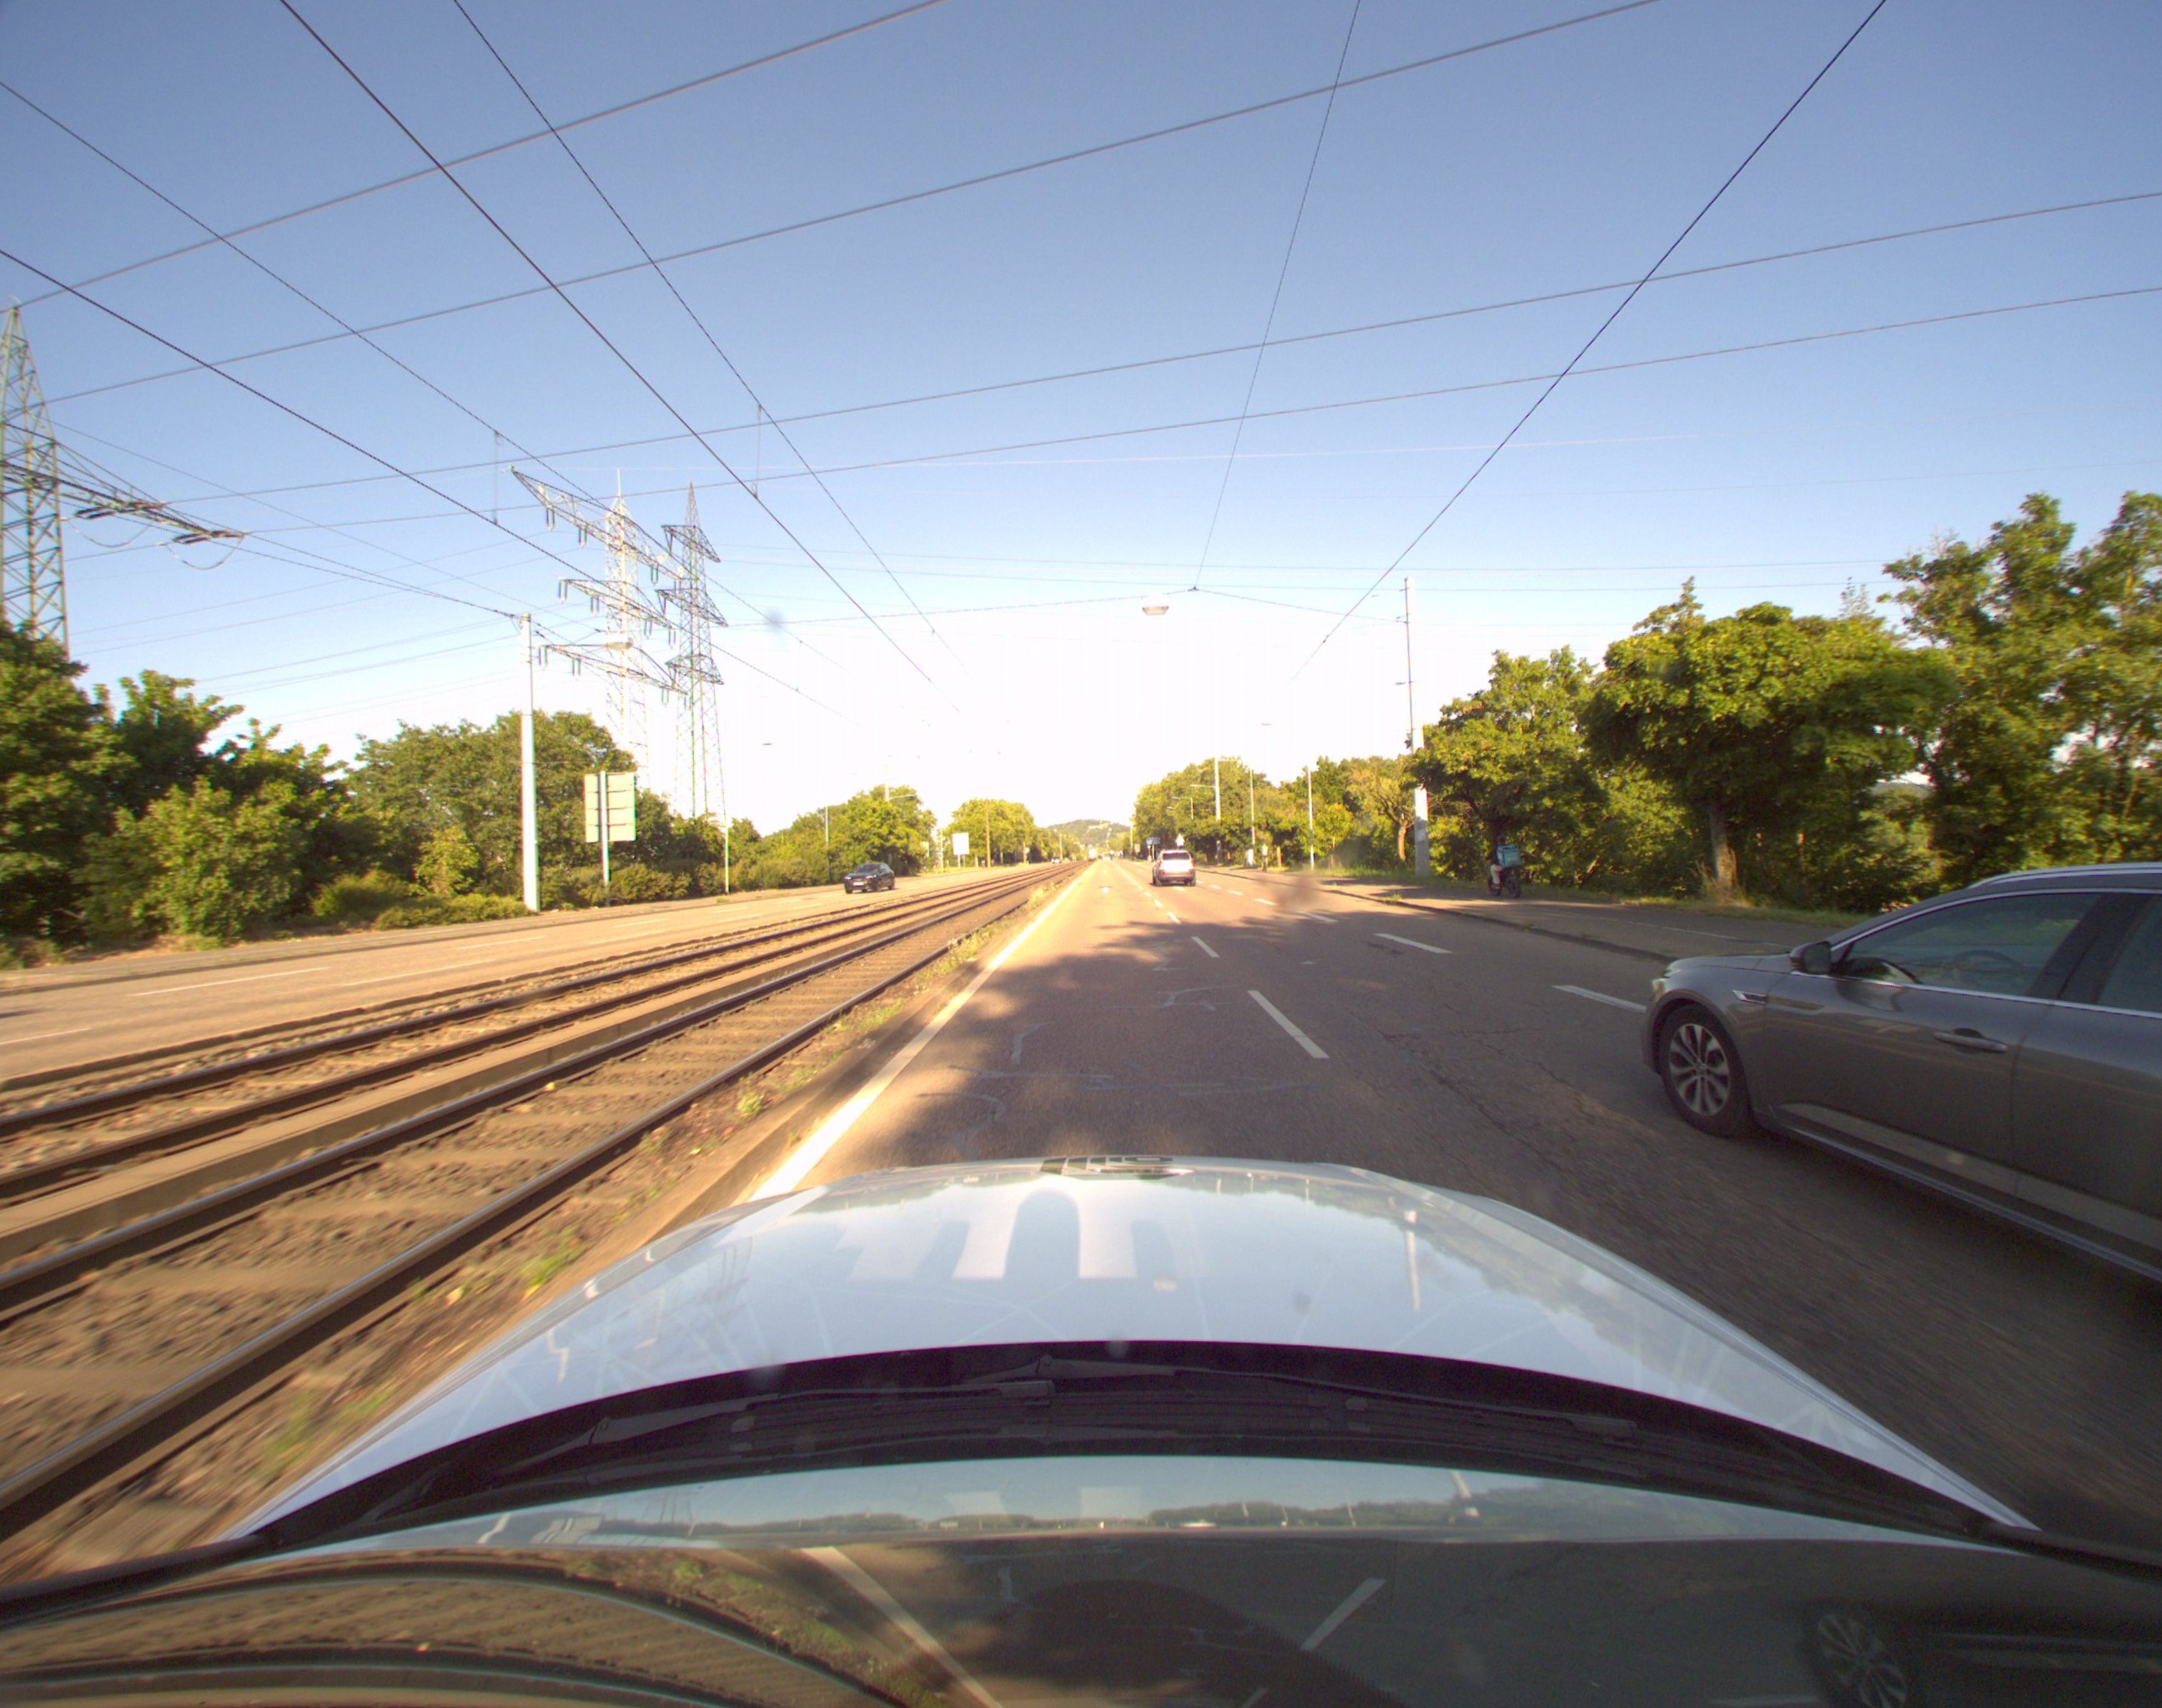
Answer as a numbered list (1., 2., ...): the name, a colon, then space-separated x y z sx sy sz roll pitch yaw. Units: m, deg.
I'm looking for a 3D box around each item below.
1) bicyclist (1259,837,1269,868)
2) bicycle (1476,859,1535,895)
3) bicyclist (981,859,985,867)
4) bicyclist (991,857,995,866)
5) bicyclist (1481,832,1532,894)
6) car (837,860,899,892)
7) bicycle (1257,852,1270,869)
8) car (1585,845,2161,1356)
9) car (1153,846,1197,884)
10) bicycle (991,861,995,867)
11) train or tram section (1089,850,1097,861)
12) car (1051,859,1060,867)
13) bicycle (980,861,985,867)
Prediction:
1. bicyclist: 11.861 -0.081 52.716 0.525 2.017 0.730 0 -1 3
2. bicycle: 10.785 0.564 20.749 0.624 0.834 1.635 -5 -1 2
3. bicyclist: -17.842 1.605 148.156 0.588 1.528 0.906 -2 -1 1
4. bicyclist: -16.231 1.366 150.115 0.588 1.611 0.967 -2 -1 1
5. bicyclist: 10.760 0.227 20.623 0.624 1.471 1.061 -5 -1 2
6. car: -11.953 1.215 46.084 1.985 1.625 4.687 -3 -1 3
7. bicycle: 11.873 0.406 52.983 0.525 1.060 1.973 0 -1 3
8. car: 4.033 0.692 2.857 1.868 1.443 4.664 -1 -1 4
9. car: 4.451 0.540 39.239 1.880 1.693 4.260 -1 -1 4
10. bicycle: -16.221 1.839 150.112 0.588 1.022 2.186 -2 -1 1
11. train or tram section: 3.593 0.515 251.544 2.302 3.217 9.478 0 -1 2
12. car: -6.533 2.345 207.938 1.985 1.923 4.864 -2 -1 3
13. bicycle: -17.835 1.866 148.068 0.588 1.022 2.186 -2 -1 1
